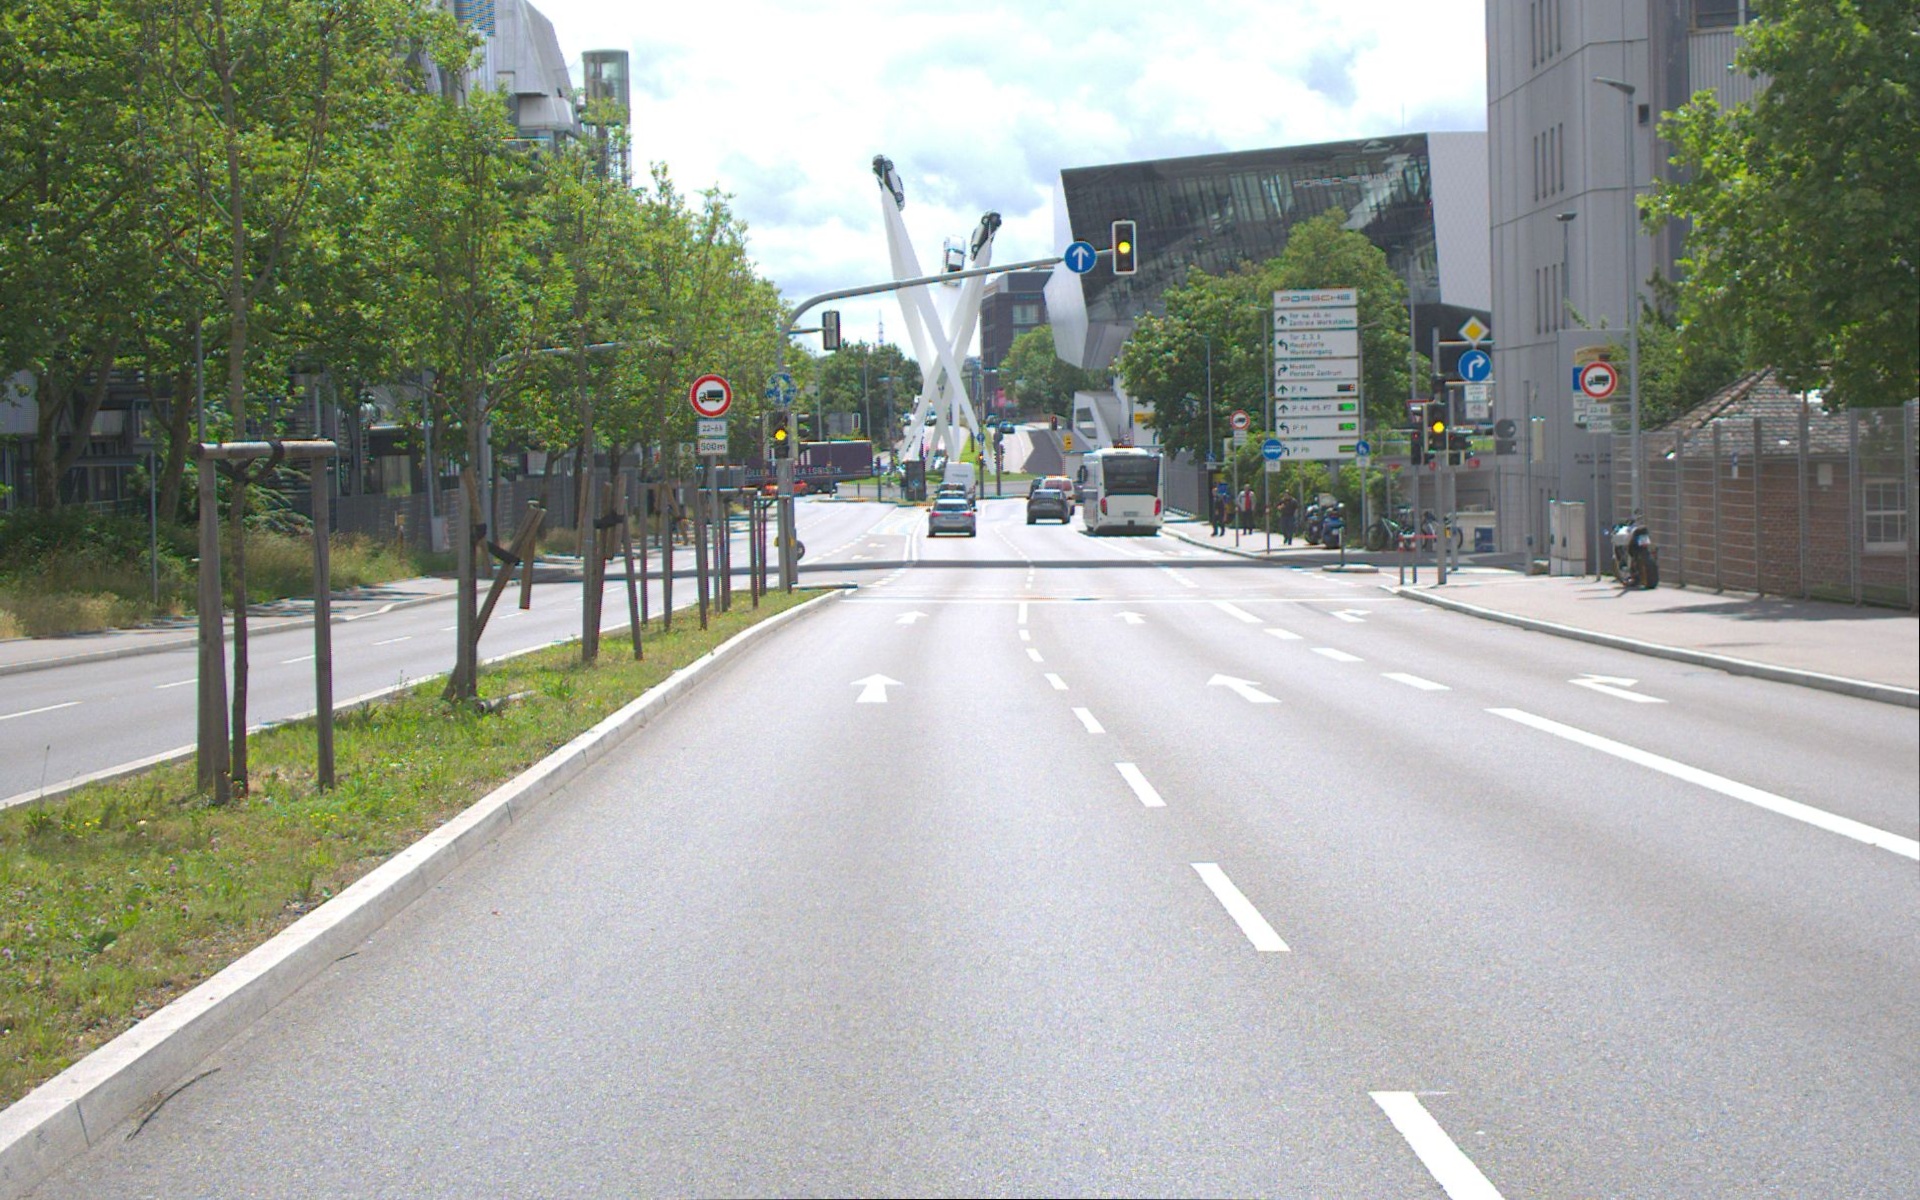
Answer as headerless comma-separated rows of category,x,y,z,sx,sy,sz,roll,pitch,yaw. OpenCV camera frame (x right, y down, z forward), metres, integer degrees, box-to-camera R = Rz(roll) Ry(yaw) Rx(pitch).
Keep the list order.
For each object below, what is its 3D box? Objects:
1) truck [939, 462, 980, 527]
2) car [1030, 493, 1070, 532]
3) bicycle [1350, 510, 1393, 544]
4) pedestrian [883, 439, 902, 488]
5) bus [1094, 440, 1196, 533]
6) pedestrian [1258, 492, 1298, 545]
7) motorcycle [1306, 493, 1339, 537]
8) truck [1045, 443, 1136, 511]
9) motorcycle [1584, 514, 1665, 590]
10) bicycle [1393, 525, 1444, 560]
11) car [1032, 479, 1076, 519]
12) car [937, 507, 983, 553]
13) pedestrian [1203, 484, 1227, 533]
truck,-0.018,-6.360,208.513,2.392,3.884,6.177,0,1,1
car,4.084,-3.989,156.336,1.738,1.735,3.691,0,1,1
bicycle,11.337,-2.024,94.805,0.397,0.933,1.929,-1,1,-18
pedestrian,-5.014,-10.185,256.112,1.416,3.588,1.283,0,1,0
bus,7.279,-4.476,136.670,3.452,3.531,10.607,0,1,0
pedestrian,9.789,-2.502,105.811,0.849,1.619,0.954,1,2,42
motorcycle,10.403,-2.454,98.734,0.706,1.199,2.024,-2,2,1
truck,8.625,-8.001,225.260,3.455,4.376,9.412,0,1,18
motorcycle,10.537,-0.775,54.588,0.692,1.154,2.148,-2,1,-4
bicycle,12.332,-1.560,92.502,0.397,0.933,1.929,-1,2,-25
car,5.012,-5.403,183.772,1.993,2.007,4.001,1,0,-4
car,0.017,-2.712,132.879,1.738,1.735,3.691,0,1,1
pedestrian,9.031,-3.242,121.768,0.820,1.701,0.881,0,1,1
